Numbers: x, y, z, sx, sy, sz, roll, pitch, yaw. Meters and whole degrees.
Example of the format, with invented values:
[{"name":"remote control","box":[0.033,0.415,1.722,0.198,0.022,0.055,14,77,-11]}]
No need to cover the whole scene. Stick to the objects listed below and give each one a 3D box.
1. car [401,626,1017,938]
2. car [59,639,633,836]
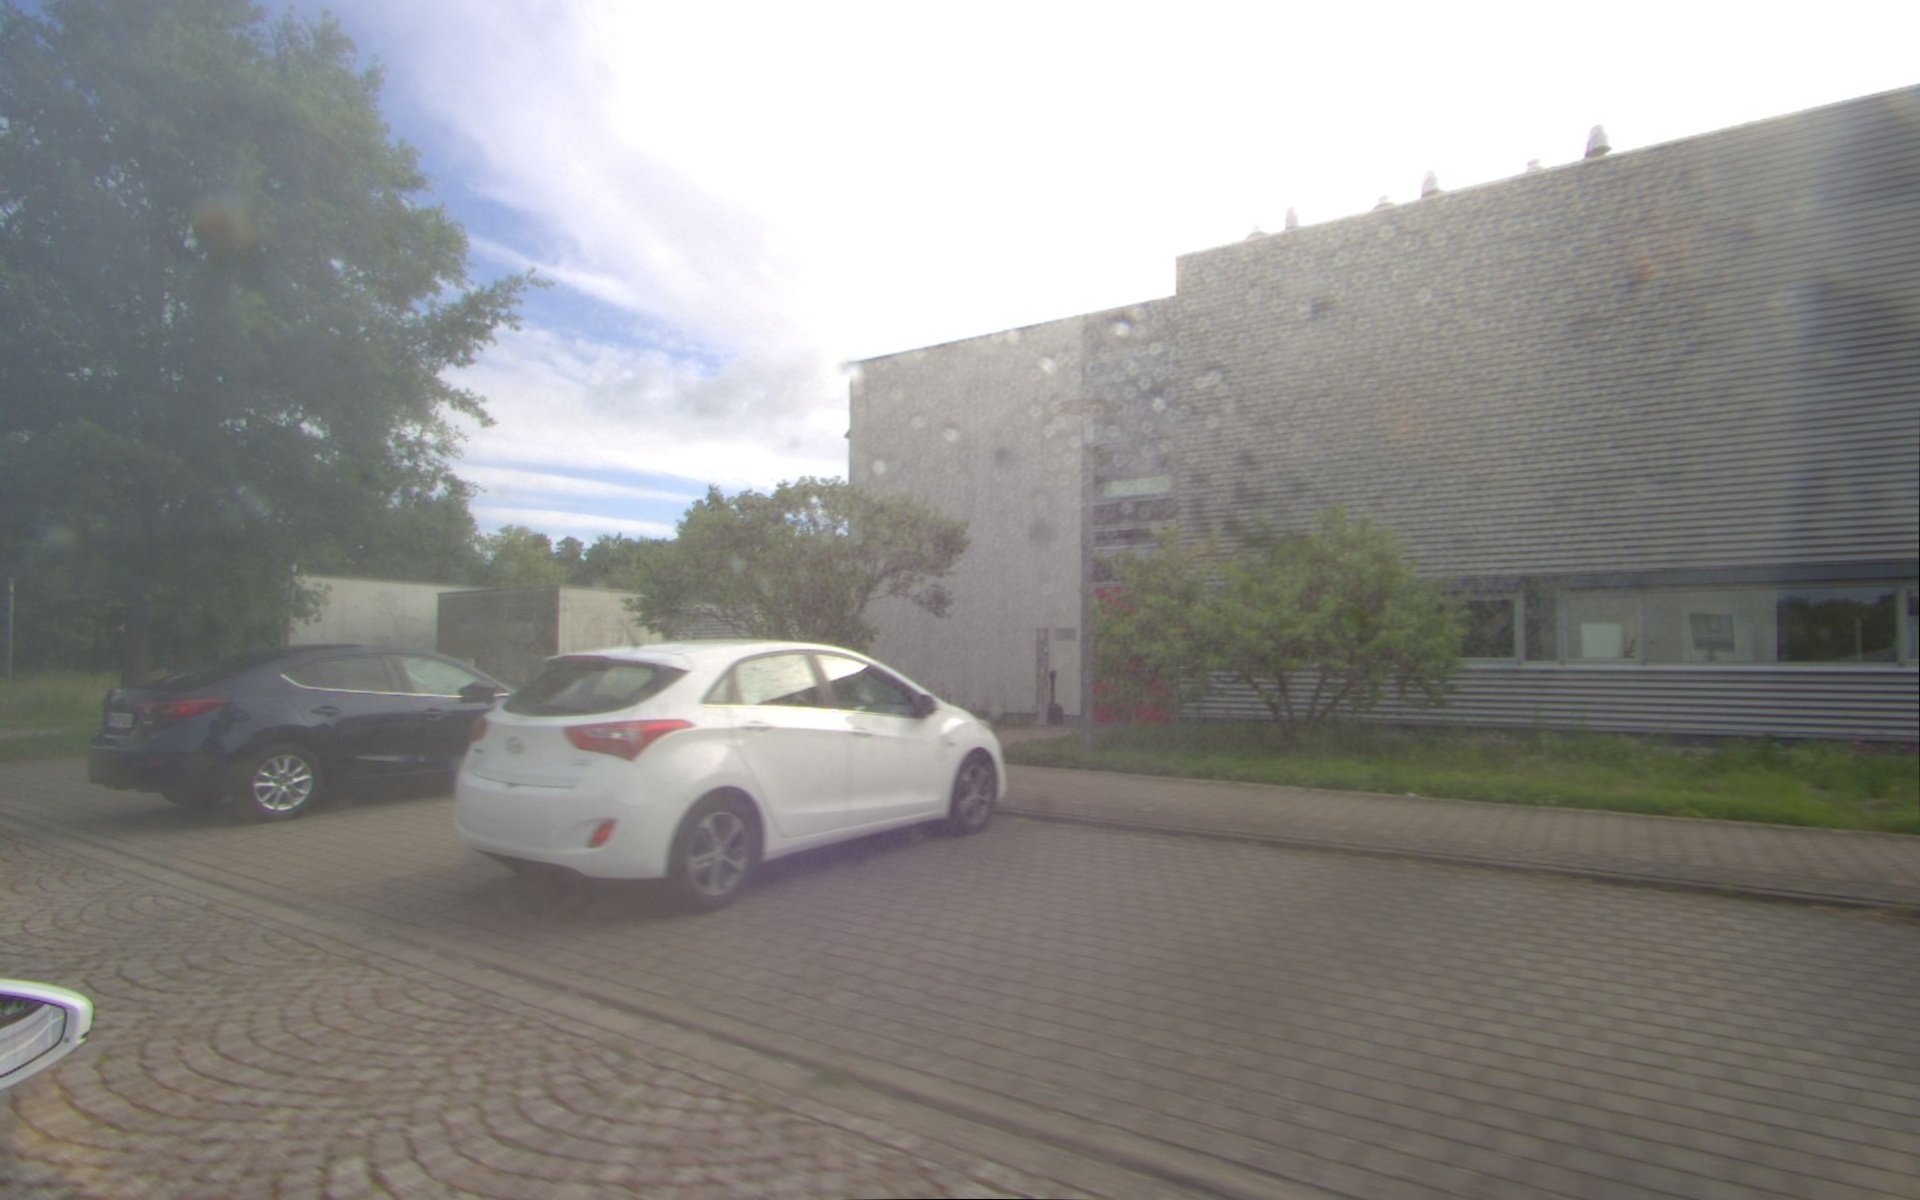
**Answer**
[{"name":"car","box":[-1.391,0.986,6.973,1.857,1.484,3.969,-2,-3,33]},{"name":"car","box":[-5.662,1.128,9.866,1.917,1.465,4.455,-2,-3,33]}]
